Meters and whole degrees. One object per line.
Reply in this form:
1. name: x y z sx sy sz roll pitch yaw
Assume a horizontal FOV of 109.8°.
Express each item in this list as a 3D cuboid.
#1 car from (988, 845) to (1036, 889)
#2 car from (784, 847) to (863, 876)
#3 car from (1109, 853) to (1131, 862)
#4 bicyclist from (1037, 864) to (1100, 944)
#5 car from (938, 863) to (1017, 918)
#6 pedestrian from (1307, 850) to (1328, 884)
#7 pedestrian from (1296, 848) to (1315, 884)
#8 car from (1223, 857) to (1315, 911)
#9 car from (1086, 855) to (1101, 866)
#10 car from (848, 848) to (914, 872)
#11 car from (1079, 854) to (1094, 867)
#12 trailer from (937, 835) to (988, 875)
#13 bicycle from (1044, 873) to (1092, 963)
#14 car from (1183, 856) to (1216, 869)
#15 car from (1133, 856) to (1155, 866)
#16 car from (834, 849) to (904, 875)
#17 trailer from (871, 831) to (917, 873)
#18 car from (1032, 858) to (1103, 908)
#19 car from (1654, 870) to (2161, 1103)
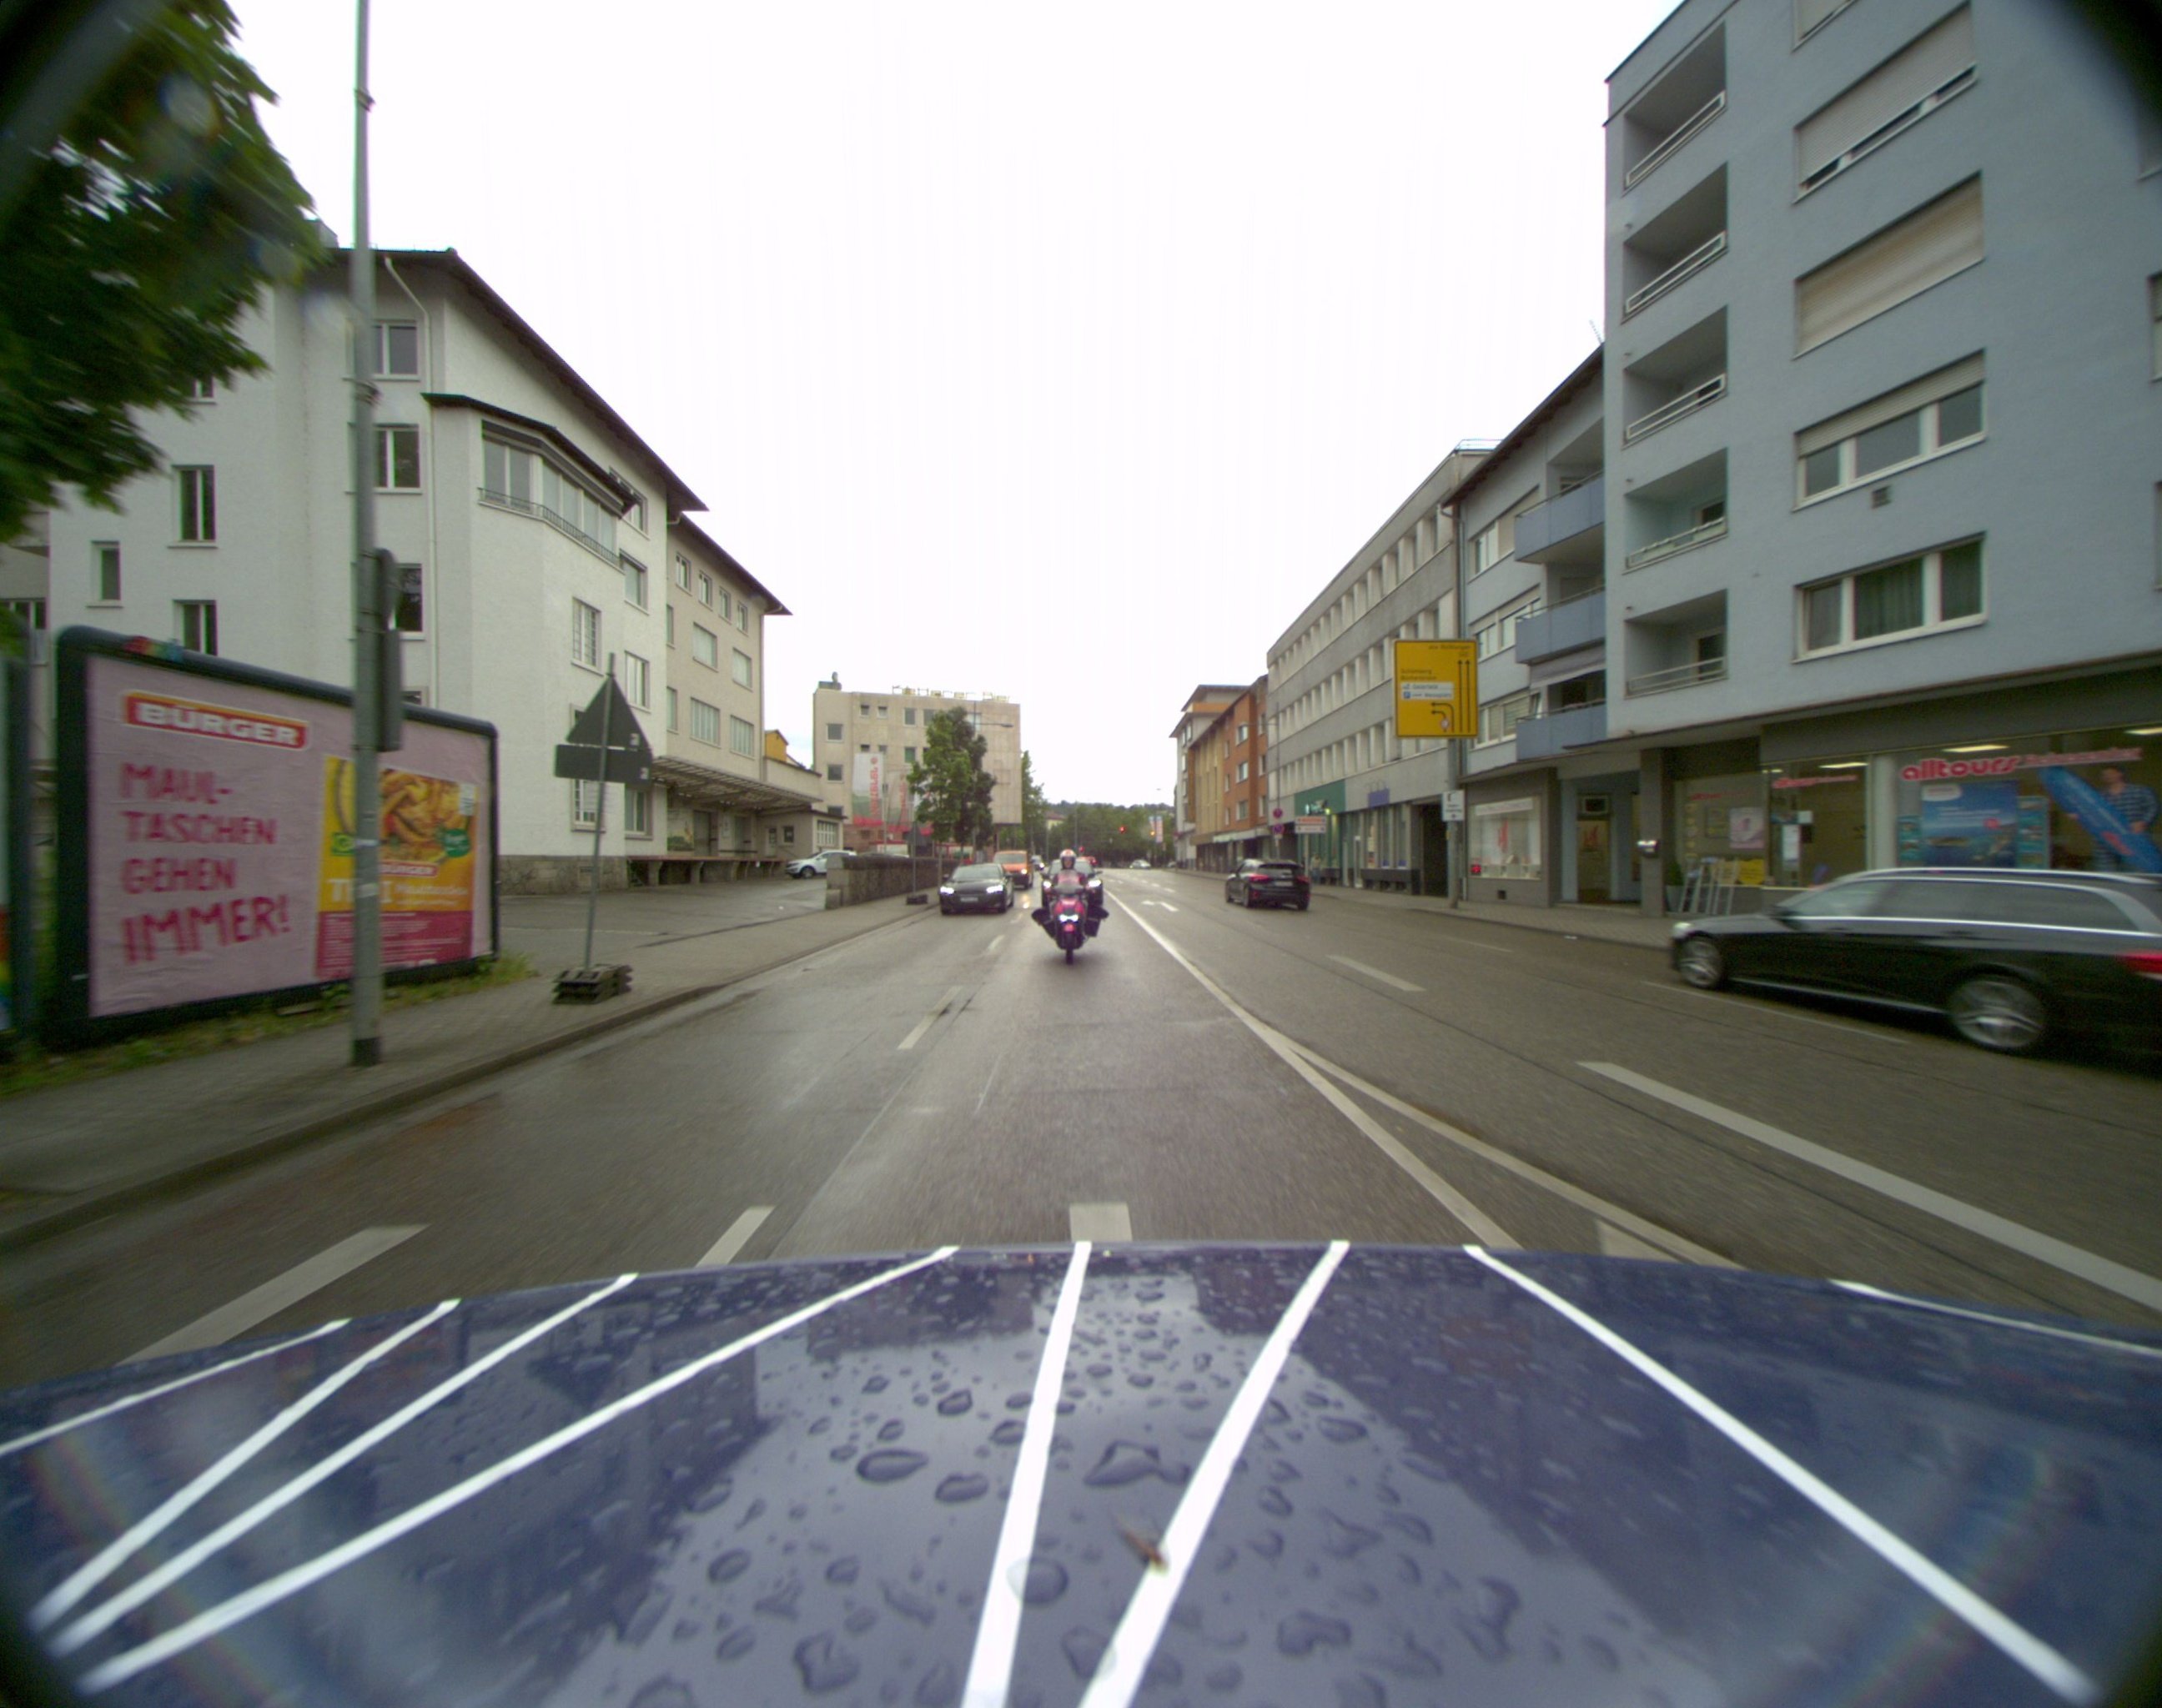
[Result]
1. car: -3.463 0.646 39.187 2.107 2.077 5.540 -1 0 -2
2. car: -15.047 0.482 44.497 3.990 1.557 1.923 2 -4 -39
3. car: 9.244 0.902 180.129 4.839 1.930 1.954 -4 -2 29
4. bicyclist: -0.183 0.772 12.040 0.963 1.219 0.715 0 1 1
5. car: -3.028 1.025 23.042 1.794 1.394 4.633 -1 0 -1
6. pedestrian: 12.104 0.668 38.923 0.631 1.666 0.908 -4 1 -1
7. pedestrian: 11.488 0.624 38.913 0.576 1.778 0.826 -4 1 0
8. car: 5.608 0.854 23.177 1.725 1.415 4.165 2 0 0
9. car: 1.829 0.939 110.784 1.759 1.605 4.215 1 -1 8
10. car: -14.560 0.492 55.470 4.284 1.639 1.863 2 -1 -33
11. car: 0.611 0.764 91.424 1.737 1.431 4.413 1 0 0
12. trailer: -10.099 0.074 64.302 2.640 3.158 5.703 1 0 -27
13. bicycle: -0.179 1.013 12.789 0.717 1.298 2.427 0 0 1
14. car: 15.099 1.031 97.143 3.822 1.413 1.797 3 1 0
15. car: 10.565 1.112 127.629 1.900 1.566 4.352 2 0 -23
16. car: -13.683 0.514 49.129 4.008 1.573 1.767 2 -1 -36
17. trailer: -15.371 -0.167 62.217 2.753 3.288 6.060 0 0 -23
18. car: -0.347 0.902 25.540 1.896 1.396 4.361 -2 1 5
19. car: 8.120 0.971 7.188 1.712 1.459 4.829 2 0 0
